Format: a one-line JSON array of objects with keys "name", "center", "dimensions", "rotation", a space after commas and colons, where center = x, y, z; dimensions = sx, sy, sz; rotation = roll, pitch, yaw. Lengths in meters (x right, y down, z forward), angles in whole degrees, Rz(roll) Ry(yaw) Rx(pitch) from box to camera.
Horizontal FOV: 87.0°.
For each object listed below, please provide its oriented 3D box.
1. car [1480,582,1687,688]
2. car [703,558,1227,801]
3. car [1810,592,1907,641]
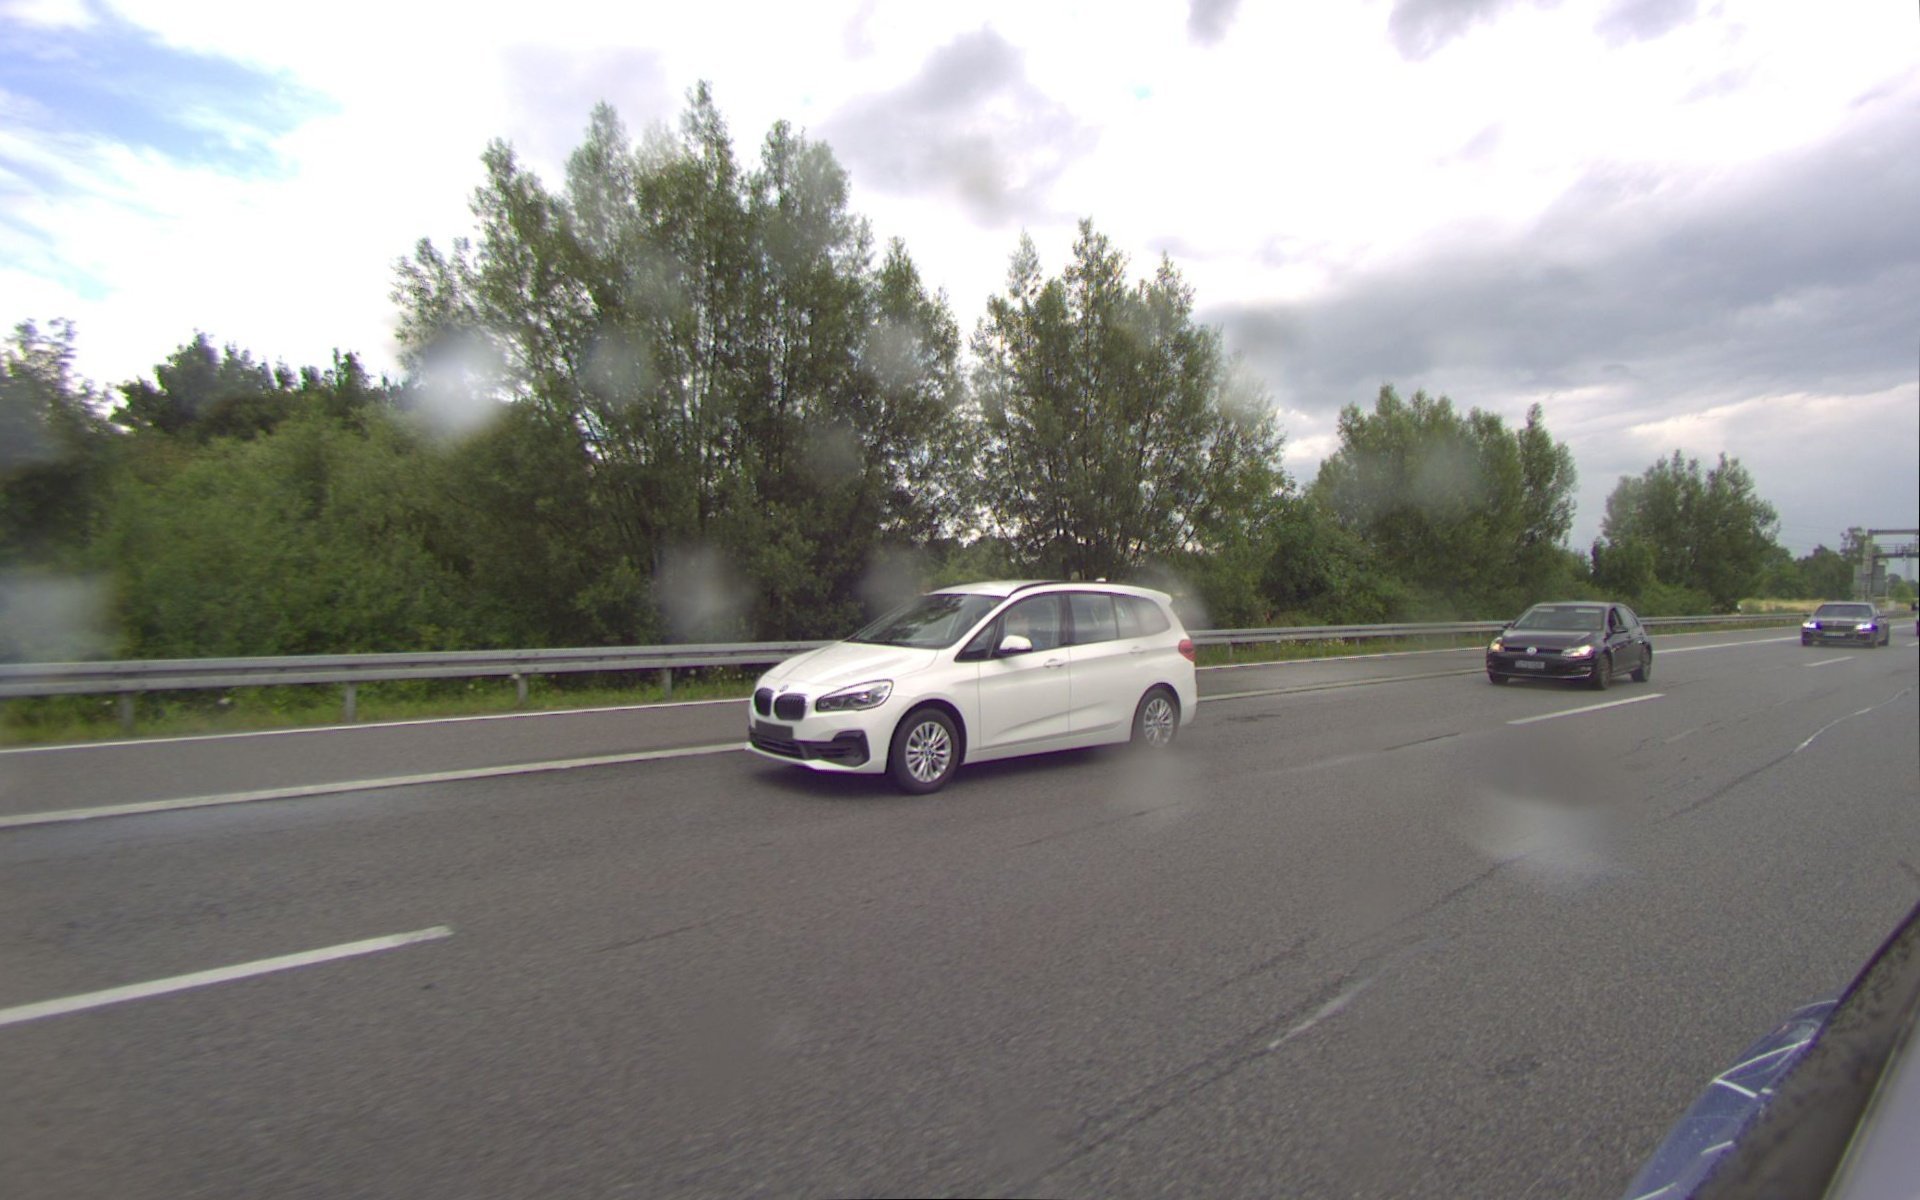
[{"name": "car", "center": [11.006, 0.524, 17.749], "dimensions": [4.376, 1.651, 1.711], "rotation": [0, 1, -39]}, {"name": "car", "center": [0.258, 0.514, 8.971], "dimensions": [4.614, 1.619, 1.813], "rotation": [0, 1, -41]}, {"name": "car", "center": [30.363, 0.513, 34.147], "dimensions": [4.694, 1.510, 1.942], "rotation": [0, 1, -42]}]
